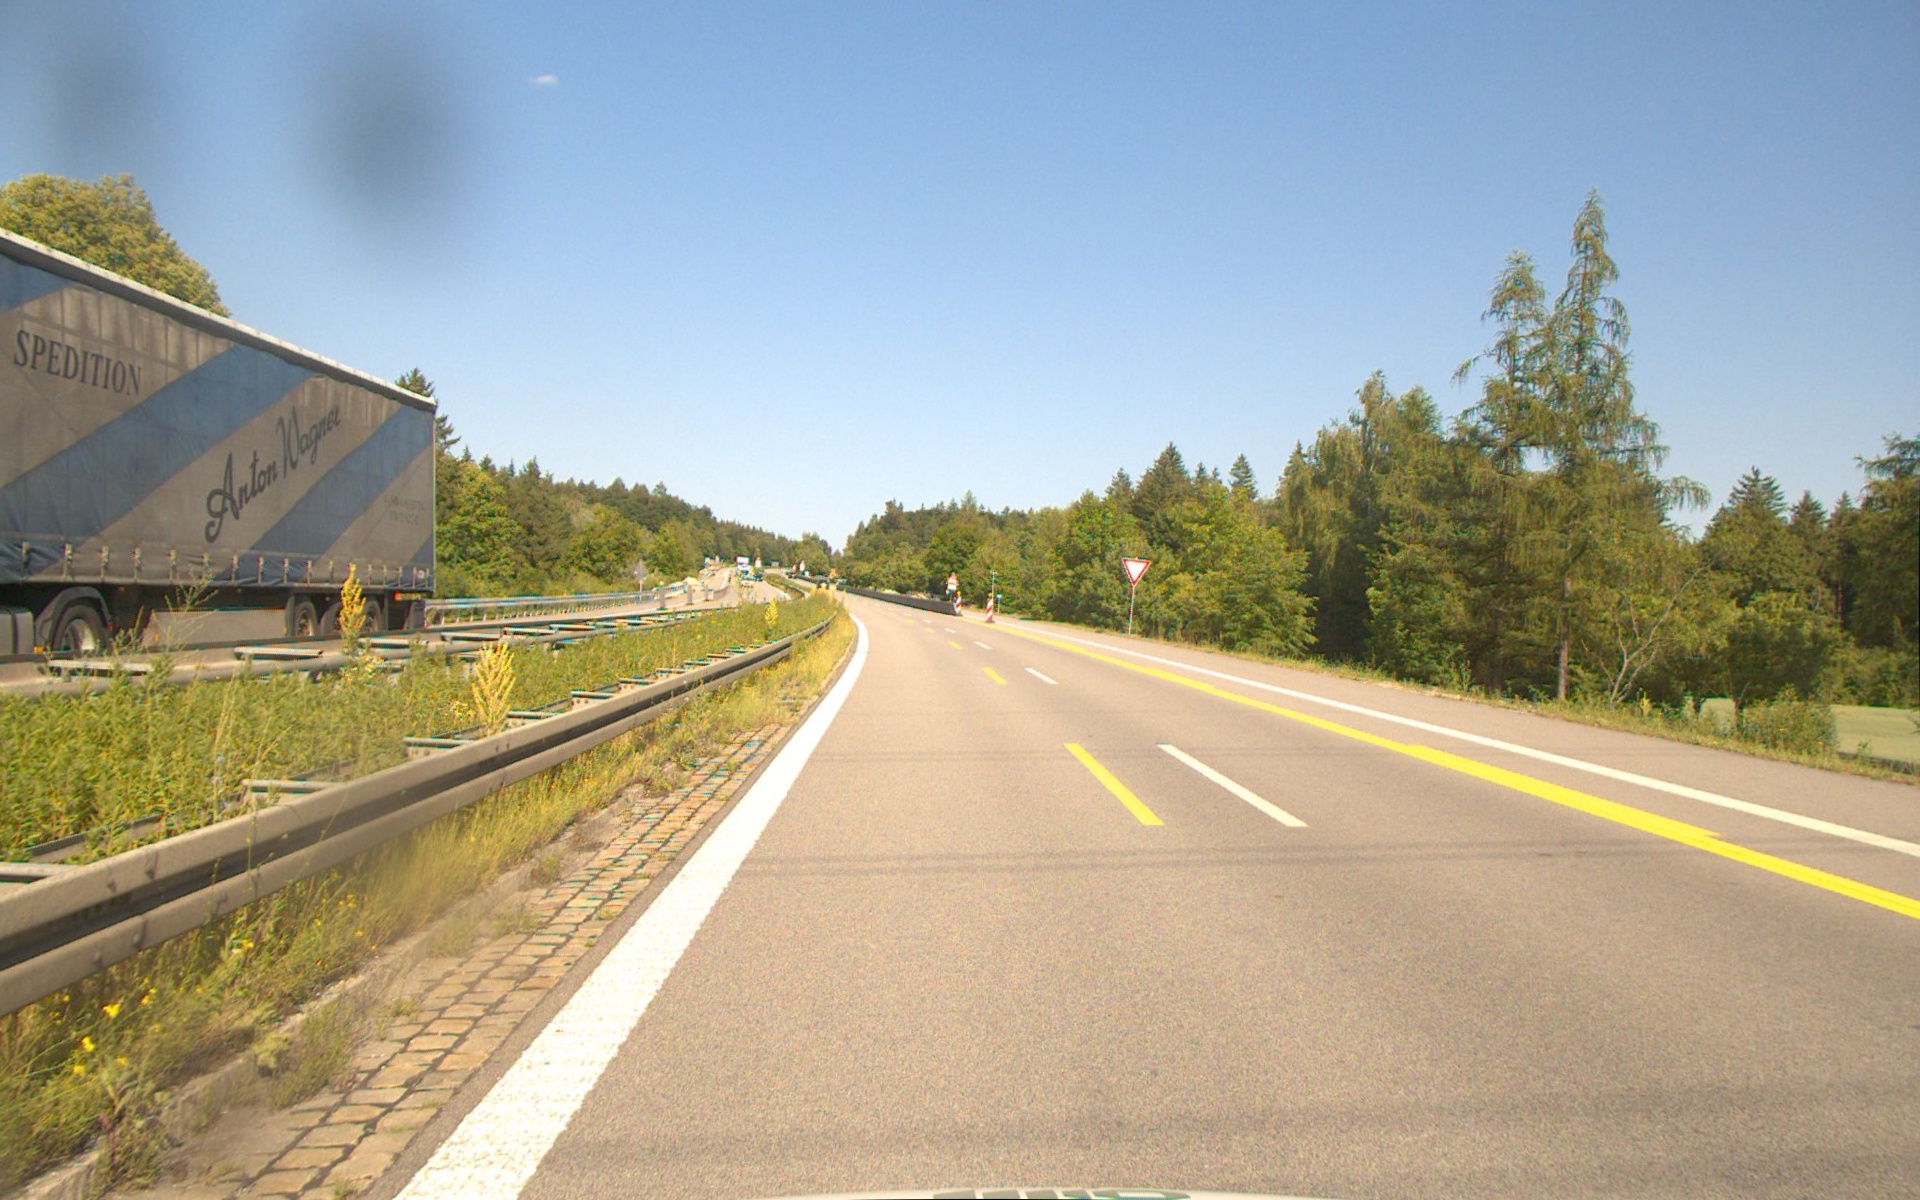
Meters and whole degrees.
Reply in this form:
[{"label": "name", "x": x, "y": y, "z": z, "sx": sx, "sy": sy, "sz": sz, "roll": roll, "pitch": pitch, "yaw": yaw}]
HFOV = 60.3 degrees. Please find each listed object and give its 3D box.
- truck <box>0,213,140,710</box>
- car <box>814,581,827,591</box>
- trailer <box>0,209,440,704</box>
[{"label": "truck", "x": -9.081, "y": -1.137, "z": 12.838, "sx": 2.579, "sy": 4.028, "sz": 5.841, "roll": 1, "pitch": 0, "yaw": -2}, {"label": "car", "x": -21.066, "y": -2.122, "z": 249.661, "sx": 1.711, "sy": 1.491, "sz": 4.287, "roll": 3, "pitch": 1, "yaw": -8}, {"label": "trailer", "x": -9.386, "y": -1.264, "z": 19.571, "sx": 2.625, "sy": 4.023, "sz": 13.763, "roll": 1, "pitch": 1, "yaw": -2}]
